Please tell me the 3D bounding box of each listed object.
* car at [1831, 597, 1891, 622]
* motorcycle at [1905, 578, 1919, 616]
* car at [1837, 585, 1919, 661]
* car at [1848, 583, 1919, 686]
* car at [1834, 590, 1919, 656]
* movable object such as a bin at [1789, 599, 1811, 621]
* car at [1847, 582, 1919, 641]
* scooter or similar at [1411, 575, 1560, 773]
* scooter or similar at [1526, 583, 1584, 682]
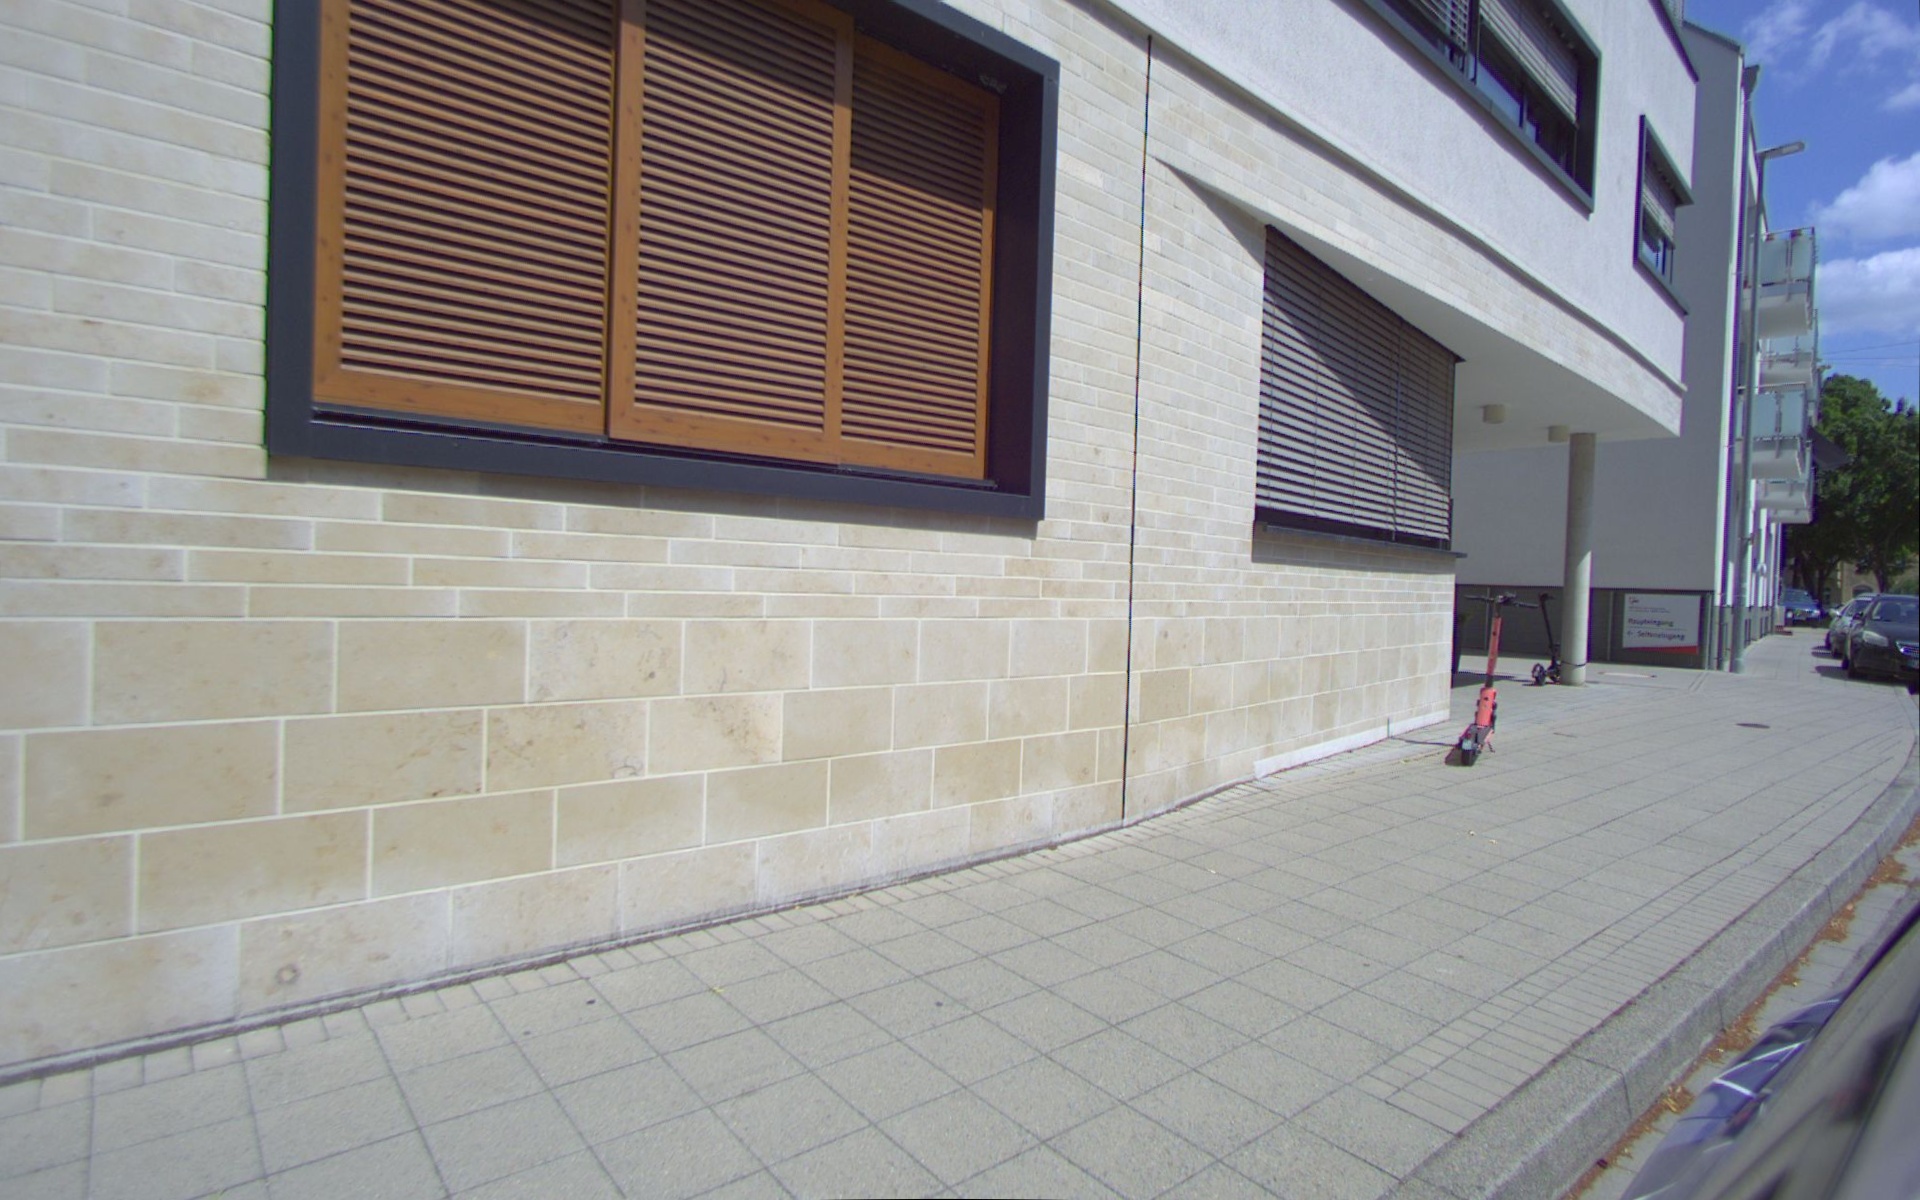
[{"bbox_3d":[71.986,0.747,80.932,1.750,1.633,3.861,8,4,13],"label":"car"},{"bbox_3d":[35.727,-0.109,37.572,0.800,1.369,2.300,3,2,45],"label":"motorcycle"},{"bbox_3d":[20.949,0.476,22.823,1.592,1.449,3.652,8,6,40],"label":"car"},{"bbox_3d":[16.645,0.568,17.353,1.798,1.527,4.484,8,6,39],"label":"car"},{"bbox_3d":[24.267,0.559,26.474,1.729,1.449,3.977,8,6,44],"label":"car"},{"bbox_3d":[38.530,0.466,46.423,0.622,0.973,0.618,1,1,-32],"label":"movable object such as a bin"},{"bbox_3d":[29.521,0.321,31.973,3.735,1.630,1.730,-1,5,-42],"label":"car"},{"bbox_3d":[3.865,0.484,7.403,0.581,1.276,1.347,6,4,41],"label":"scooter or similar"},{"bbox_3d":[7.878,0.409,13.378,0.421,1.226,1.296,3,2,39],"label":"scooter or similar"}]
